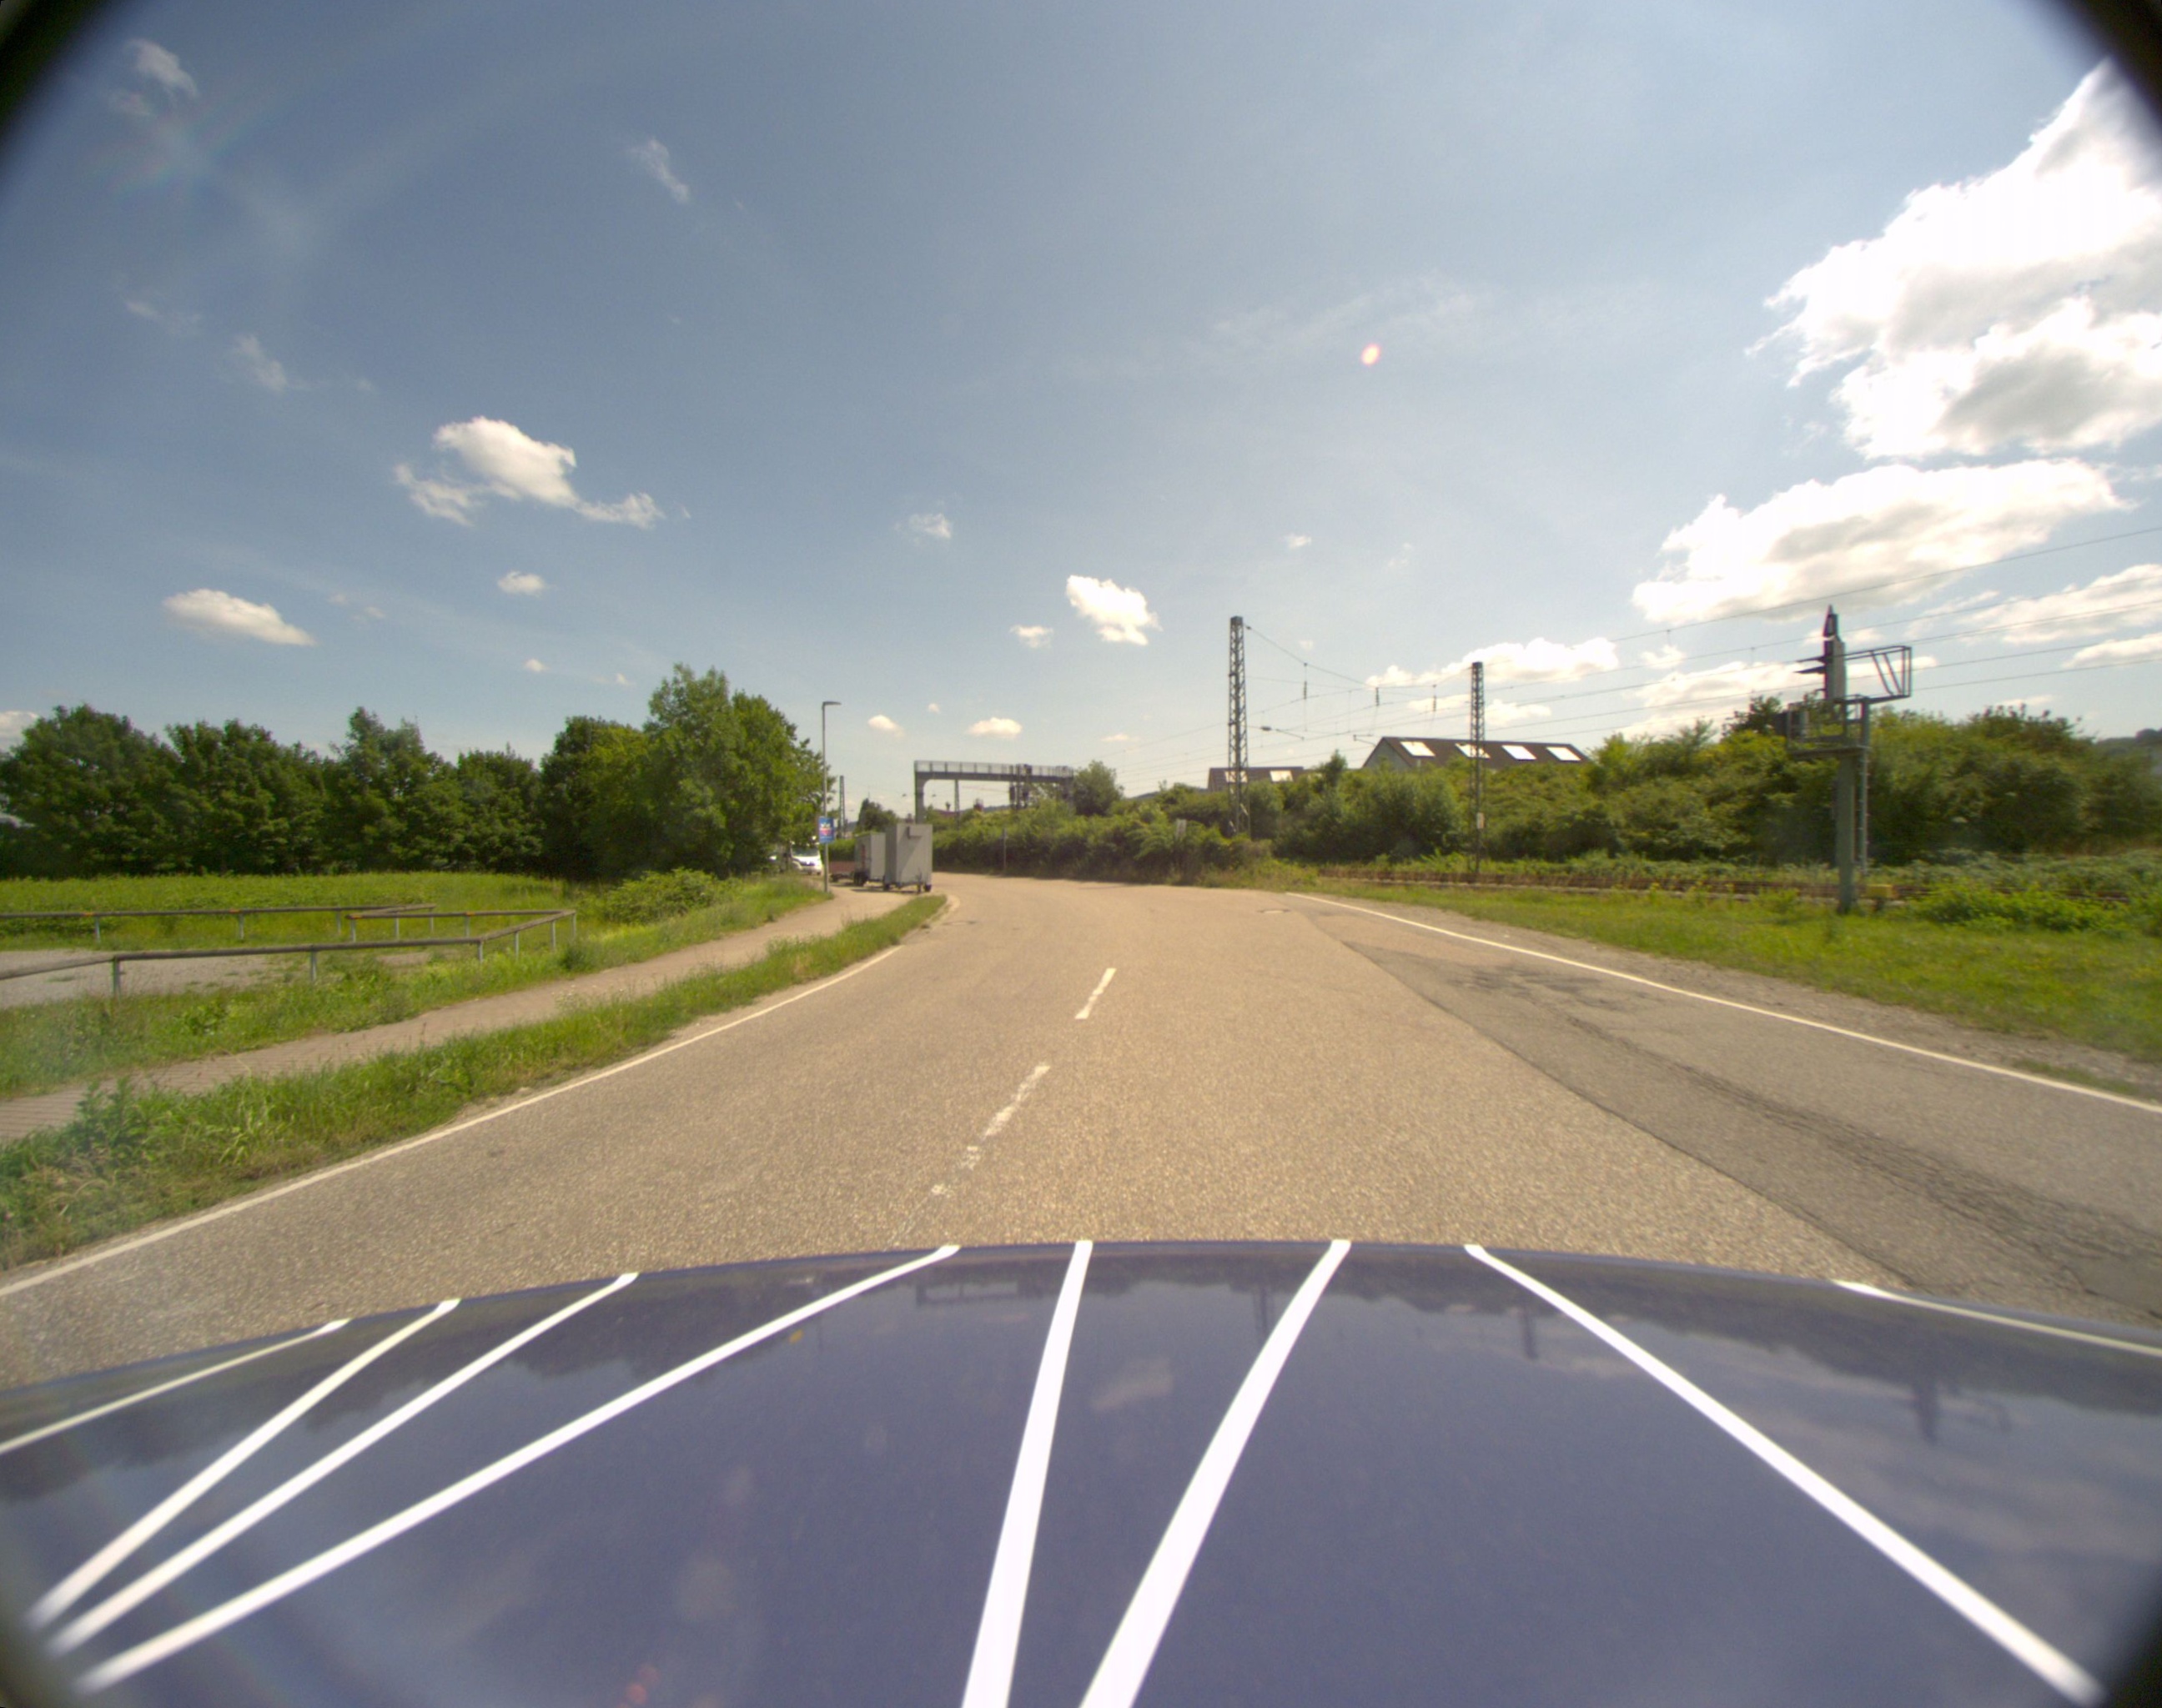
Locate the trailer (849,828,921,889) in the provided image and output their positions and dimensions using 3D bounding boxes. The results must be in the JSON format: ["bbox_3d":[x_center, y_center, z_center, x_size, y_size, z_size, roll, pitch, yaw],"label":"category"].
[{"bbox_3d":[-8.748,0.193,33.668,1.928,2.493,4.729,1,0,-29],"label":"trailer"}]

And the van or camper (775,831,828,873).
[{"bbox_3d":[-20.235,-0.177,54.710,2.451,2.810,7.604,0,0,-29],"label":"van or camper"}]

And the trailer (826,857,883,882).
[{"bbox_3d":[-11.502,0.752,38.450,2.014,1.116,4.478,2,0,-26],"label":"trailer"}]

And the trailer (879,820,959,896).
[{"bbox_3d":[-6.294,0.152,29.039,1.942,2.628,5.173,1,0,-23],"label":"trailer"}]
